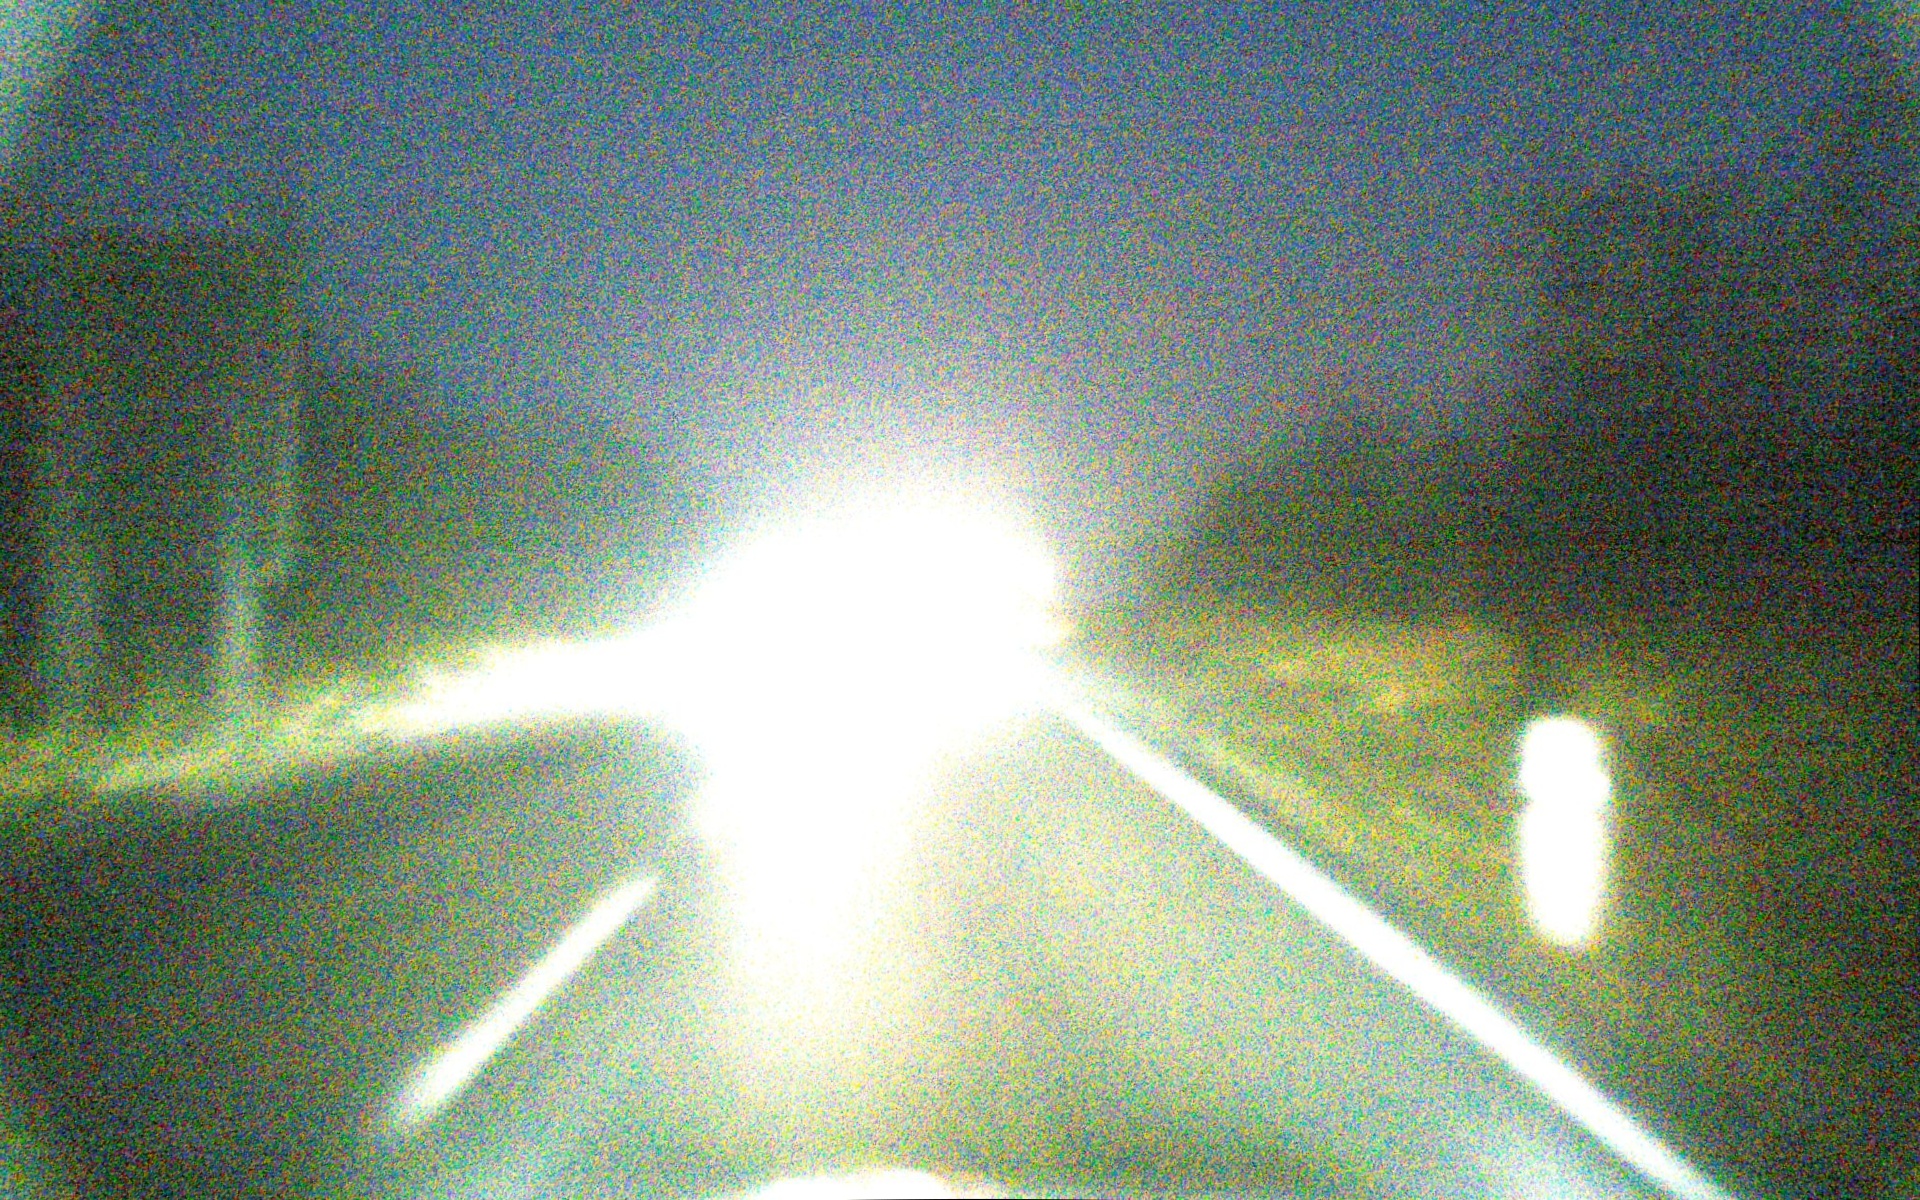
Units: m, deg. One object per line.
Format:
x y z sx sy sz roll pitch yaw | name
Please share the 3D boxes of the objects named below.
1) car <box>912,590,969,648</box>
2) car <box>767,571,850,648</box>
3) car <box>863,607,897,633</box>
-0.699 0.634 56.878 1.805 1.770 3.999 3 1 -2 | car
-4.280 0.271 47.311 1.953 2.049 3.999 1 0 0 | car
-5.112 1.243 105.700 1.953 1.576 3.999 1 0 -1 | car
